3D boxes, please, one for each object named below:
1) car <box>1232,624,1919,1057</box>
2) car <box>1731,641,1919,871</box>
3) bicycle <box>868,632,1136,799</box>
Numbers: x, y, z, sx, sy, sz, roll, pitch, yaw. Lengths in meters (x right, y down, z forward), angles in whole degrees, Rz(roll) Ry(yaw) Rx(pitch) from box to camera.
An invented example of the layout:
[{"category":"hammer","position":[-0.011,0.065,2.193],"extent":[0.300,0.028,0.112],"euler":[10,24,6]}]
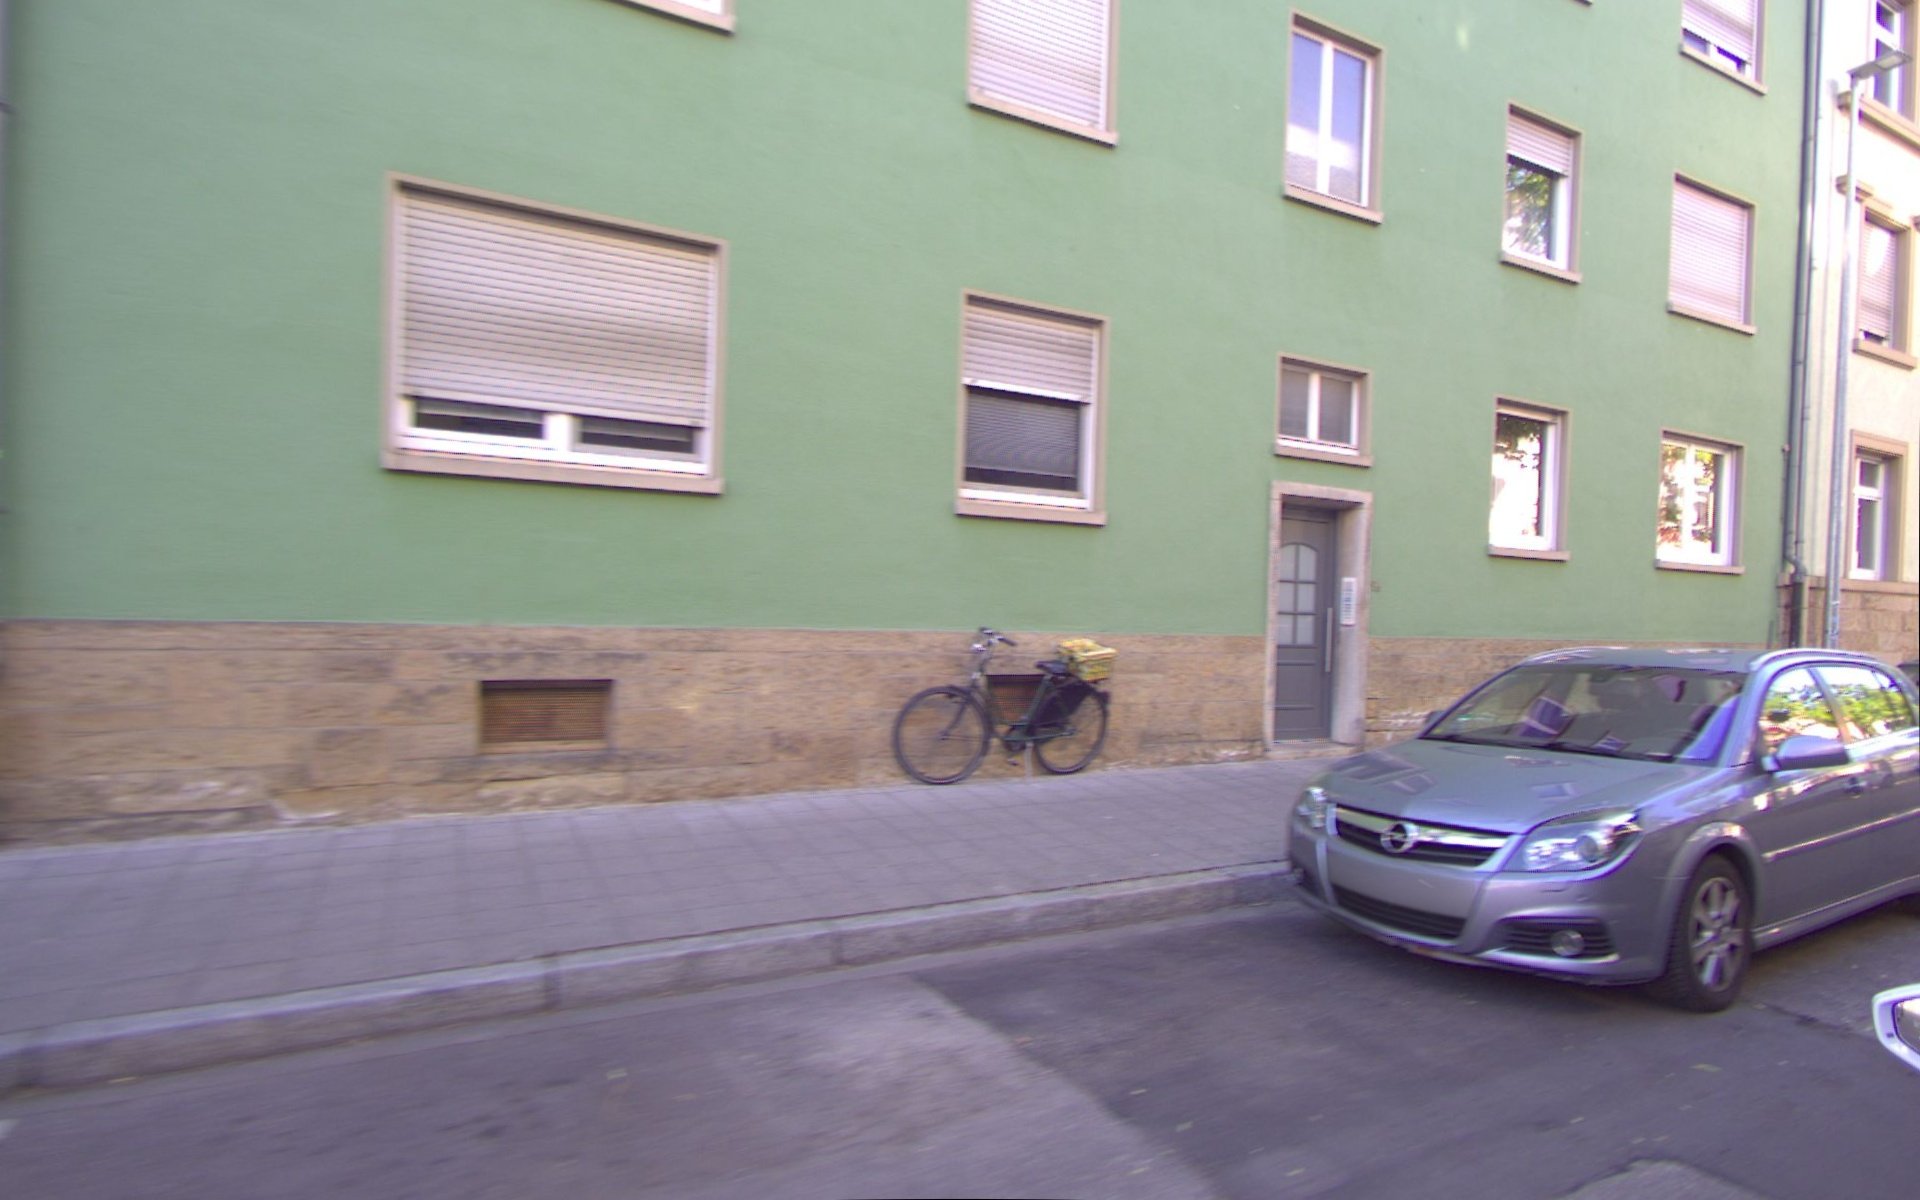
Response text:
[{"category":"car","position":[3.678,0.916,5.352],"extent":[4.455,1.481,1.711],"euler":[2,-2,-31]},{"category":"car","position":[8.046,1.082,7.701],"extent":[4.310,1.481,1.825],"euler":[2,-2,-29]},{"category":"bicycle","position":[0.340,0.822,7.447],"extent":[1.945,1.090,0.484],"euler":[2,4,-28]}]
